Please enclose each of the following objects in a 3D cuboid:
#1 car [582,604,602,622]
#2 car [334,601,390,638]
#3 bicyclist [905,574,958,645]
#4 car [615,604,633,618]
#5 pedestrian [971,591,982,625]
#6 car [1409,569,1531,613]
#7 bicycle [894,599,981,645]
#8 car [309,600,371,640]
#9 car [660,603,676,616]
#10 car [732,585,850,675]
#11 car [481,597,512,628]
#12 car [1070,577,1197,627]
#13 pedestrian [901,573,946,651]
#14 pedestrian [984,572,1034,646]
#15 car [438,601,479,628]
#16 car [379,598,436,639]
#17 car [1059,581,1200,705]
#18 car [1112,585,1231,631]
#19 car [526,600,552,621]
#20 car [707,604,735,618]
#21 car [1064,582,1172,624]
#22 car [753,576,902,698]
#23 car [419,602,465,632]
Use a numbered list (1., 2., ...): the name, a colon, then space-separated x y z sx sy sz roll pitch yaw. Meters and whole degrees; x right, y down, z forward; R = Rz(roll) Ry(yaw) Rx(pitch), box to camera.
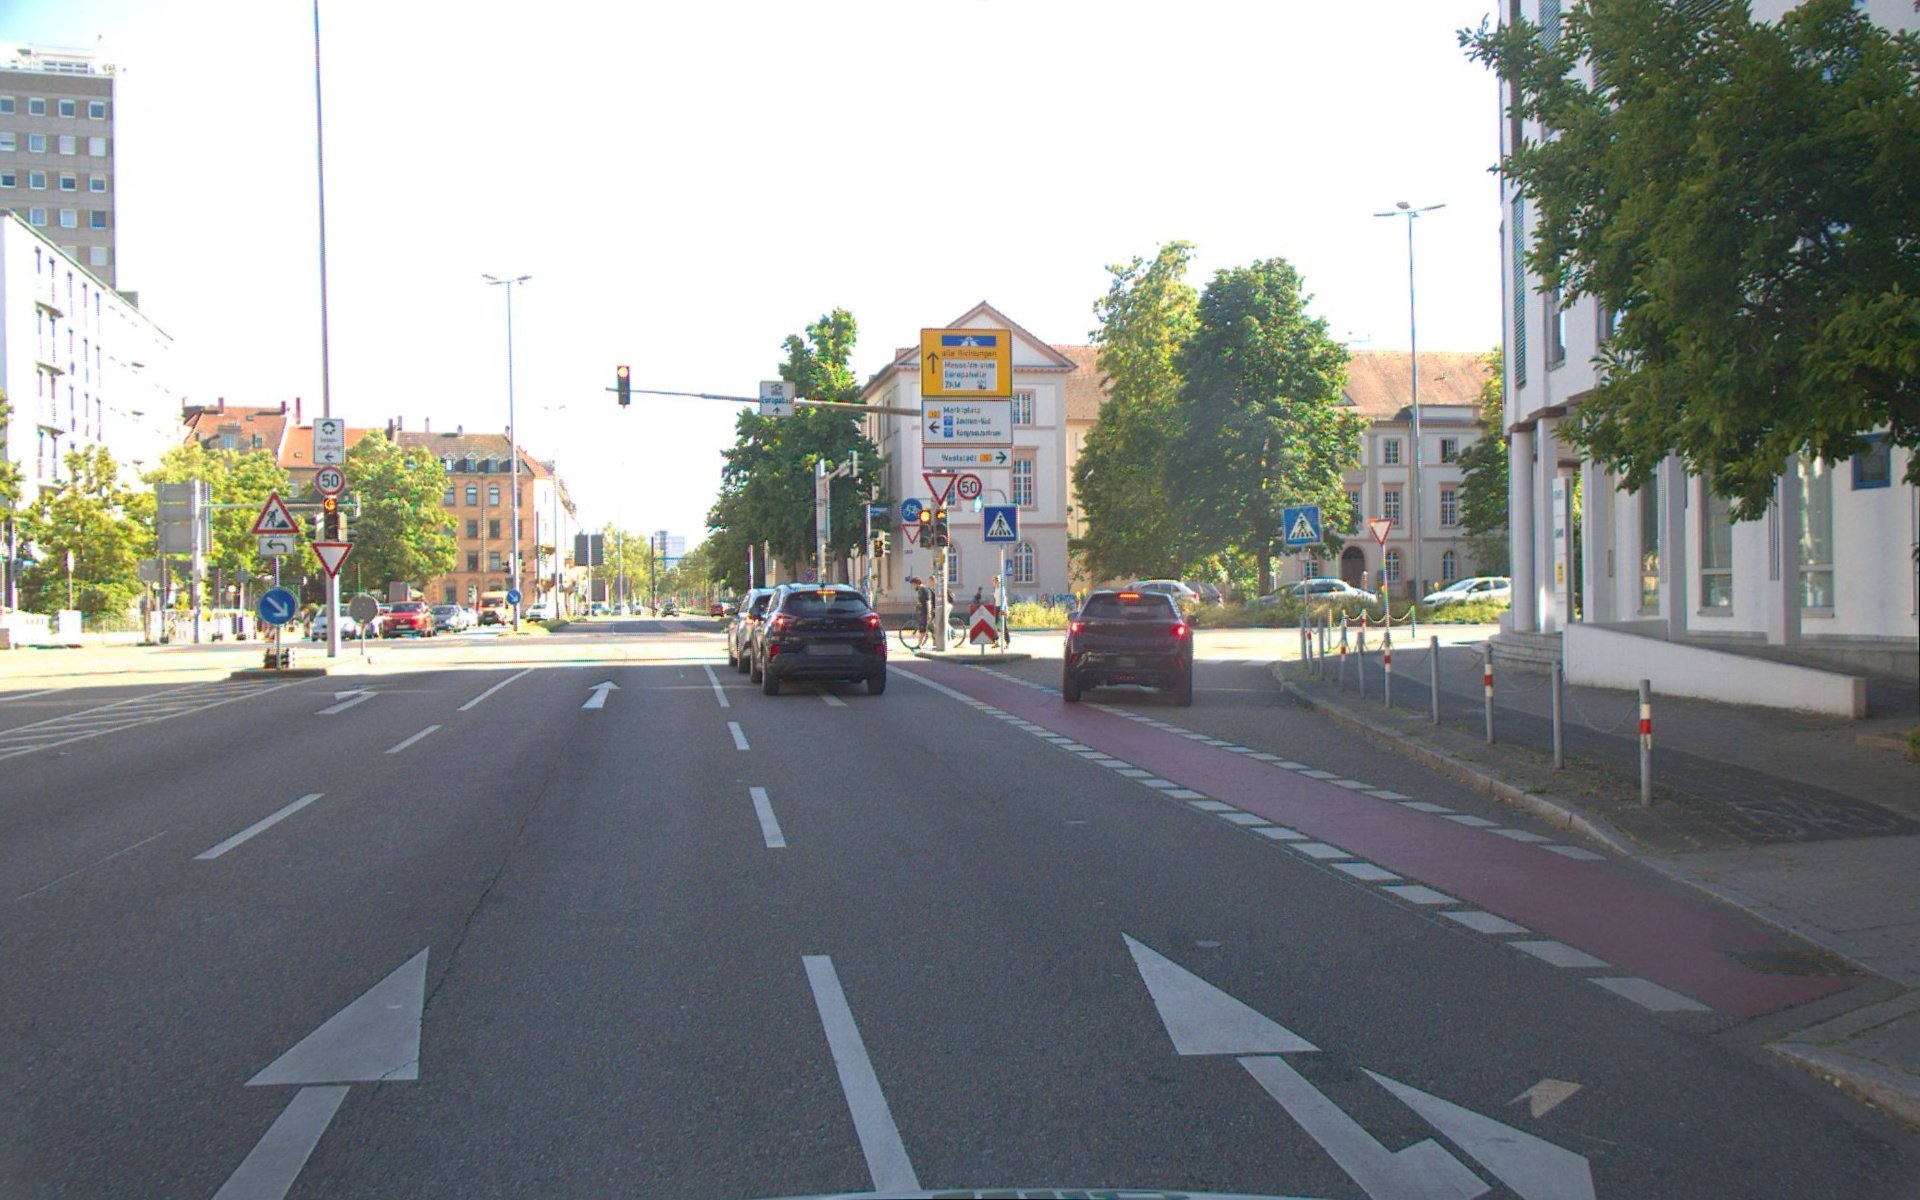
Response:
1. car: -35.459 1.227 159.479 1.778 1.662 3.989 -1 0 -11
2. car: -28.339 0.914 78.489 1.841 1.645 3.989 -1 0 -11
3. bicyclist: -0.680 0.219 39.631 1.145 1.662 0.727 0 0 -14
4. car: -36.364 1.178 179.103 1.778 1.473 3.989 -1 0 -11
5. pedestrian: 0.804 0.394 79.710 0.432 1.643 0.467 1 -1 -5
6. car: 19.223 -0.339 62.424 4.109 1.534 1.813 -1 0 -18
7. bicycle: -0.545 0.518 39.654 1.996 1.079 0.620 0 0 -14
8. car: -26.998 0.851 72.084 1.841 1.645 3.989 -1 0 -11
9. car: -34.598 1.163 195.689 1.778 1.473 3.989 -1 0 -11
10. car: -3.124 0.492 29.893 1.797 1.478 3.978 -1 0 -11
11. car: -33.693 0.862 120.337 1.778 2.172 3.989 -1 0 -11
12. car: 6.080 0.054 57.929 4.050 1.629 1.813 -1 0 -18
13. pedestrian: -0.824 0.267 37.380 0.812 1.731 0.914 0 0 -16
14. pedestrian: 1.136 0.208 38.554 1.021 1.689 0.782 -1 0 -7
15. car: -28.886 0.819 95.328 1.841 1.473 3.989 -1 0 -11
16. car: -23.673 0.778 70.967 1.759 1.645 3.990 -1 0 -10
17. car: 2.316 0.560 23.369 1.709 1.601 3.558 0 0 1
18. car: 7.915 0.281 61.980 4.050 1.629 1.813 -1 0 -18
19. car: -35.616 0.888 139.978 1.778 1.662 3.989 -1 0 -11
20. car: -25.390 1.161 176.075 1.771 1.431 4.004 -1 0 9
21. car: 6.496 0.120 67.990 4.050 1.629 1.813 -1 0 -18
22. car: -2.029 0.485 24.386 1.797 1.606 3.829 -1 1 -11
23. car: -27.148 0.879 86.830 1.841 1.473 3.989 -1 0 -11
